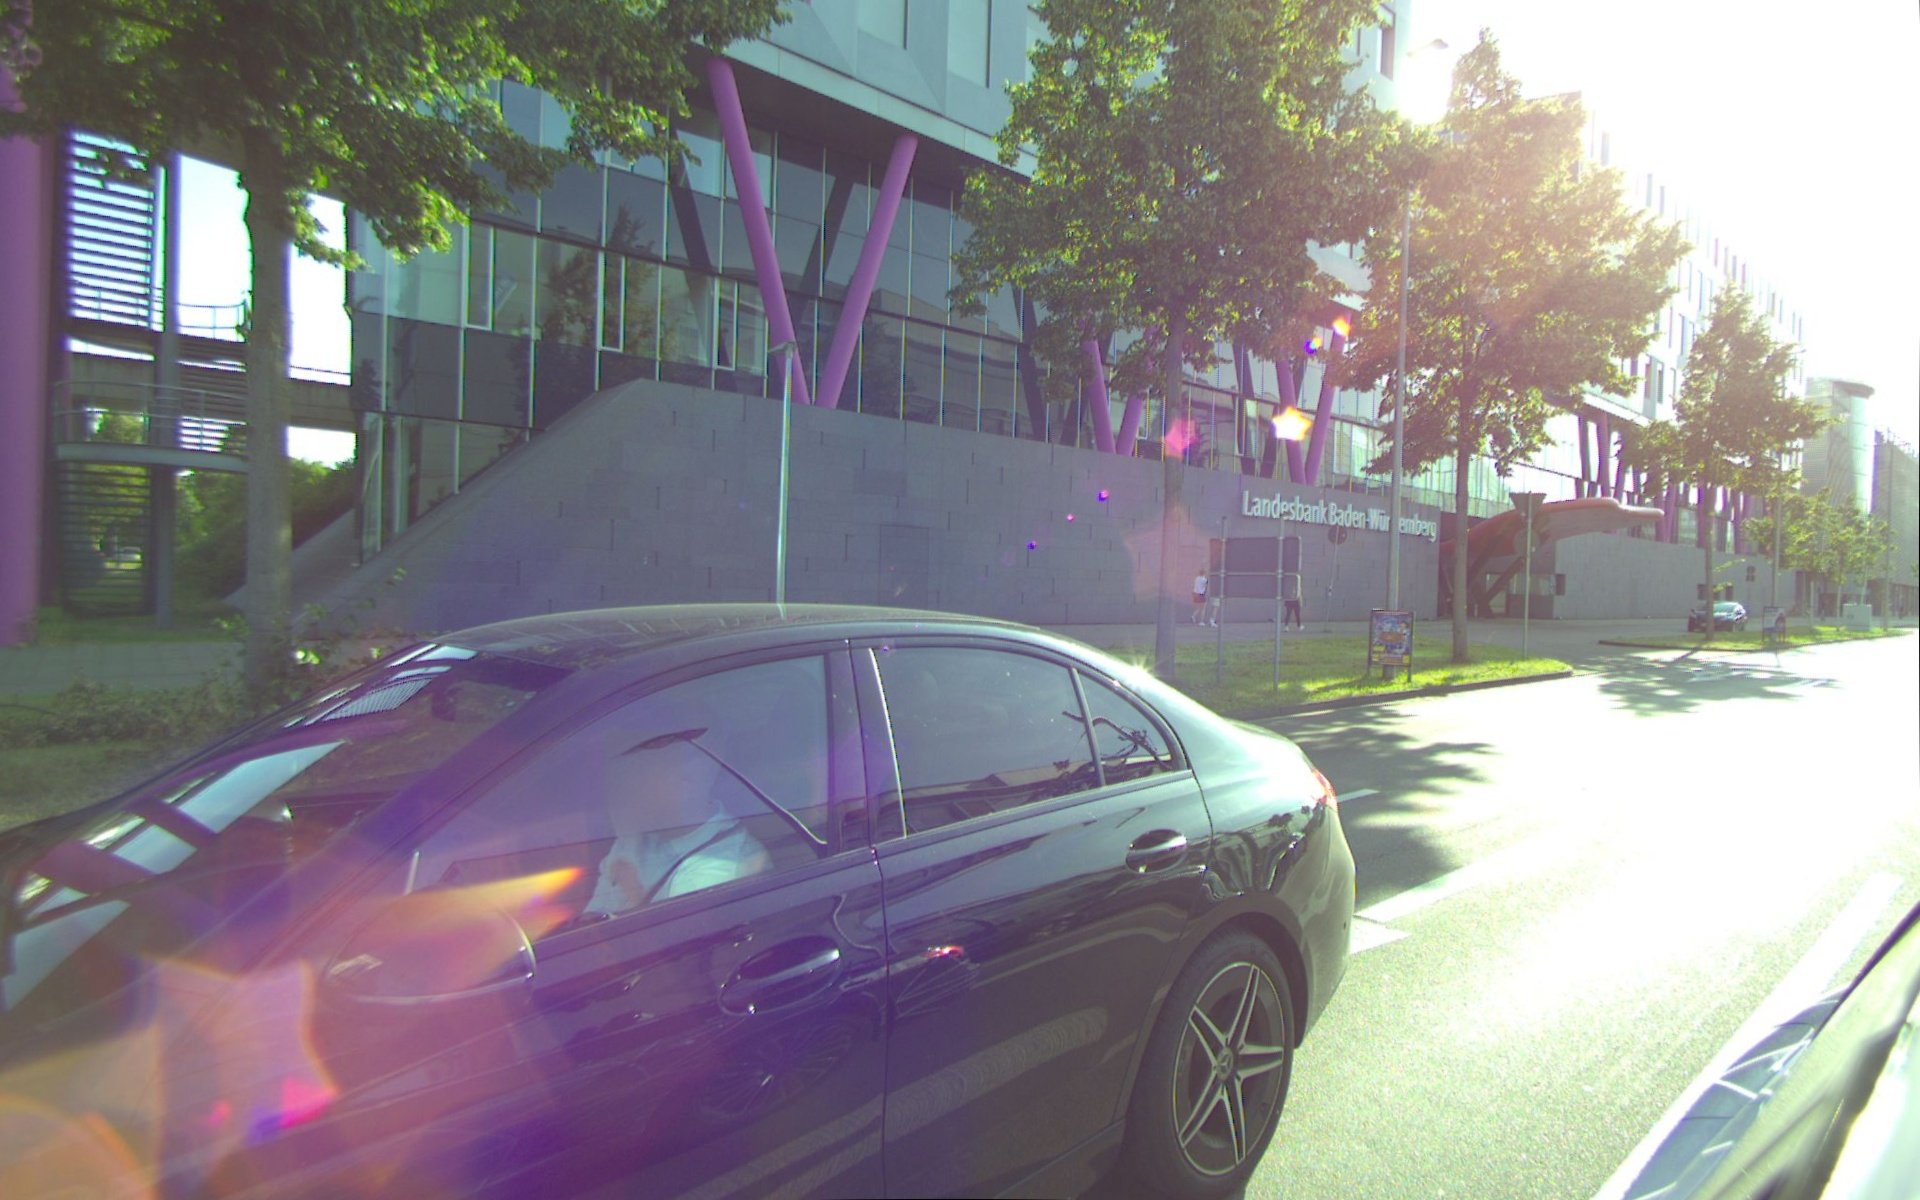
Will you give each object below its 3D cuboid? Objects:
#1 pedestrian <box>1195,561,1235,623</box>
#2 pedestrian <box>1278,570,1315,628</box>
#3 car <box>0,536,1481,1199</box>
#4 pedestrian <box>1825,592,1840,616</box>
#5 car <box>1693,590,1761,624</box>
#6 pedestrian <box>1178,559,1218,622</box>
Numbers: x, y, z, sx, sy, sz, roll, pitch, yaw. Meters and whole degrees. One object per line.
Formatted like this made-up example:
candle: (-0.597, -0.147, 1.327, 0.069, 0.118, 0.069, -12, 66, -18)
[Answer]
pedestrian: (7.657, -0.247, 30.399, 0.829, 1.815, 0.756, 1, 3, -41)
pedestrian: (9.956, -0.029, 29.953, 0.724, 1.658, 0.695, 0, 3, -41)
car: (-0.776, 0.667, 2.333, 4.472, 1.468, 1.843, 1, 0, -39)
pedestrian: (67.433, 0.332, 78.186, 0.758, 1.808, 0.725, 0, 1, -41)
car: (34.817, 0.323, 45.884, 4.126, 1.407, 1.694, 1, 1, -42)
pedestrian: (7.233, -0.290, 30.773, 0.838, 1.847, 0.769, 1, 3, -41)
